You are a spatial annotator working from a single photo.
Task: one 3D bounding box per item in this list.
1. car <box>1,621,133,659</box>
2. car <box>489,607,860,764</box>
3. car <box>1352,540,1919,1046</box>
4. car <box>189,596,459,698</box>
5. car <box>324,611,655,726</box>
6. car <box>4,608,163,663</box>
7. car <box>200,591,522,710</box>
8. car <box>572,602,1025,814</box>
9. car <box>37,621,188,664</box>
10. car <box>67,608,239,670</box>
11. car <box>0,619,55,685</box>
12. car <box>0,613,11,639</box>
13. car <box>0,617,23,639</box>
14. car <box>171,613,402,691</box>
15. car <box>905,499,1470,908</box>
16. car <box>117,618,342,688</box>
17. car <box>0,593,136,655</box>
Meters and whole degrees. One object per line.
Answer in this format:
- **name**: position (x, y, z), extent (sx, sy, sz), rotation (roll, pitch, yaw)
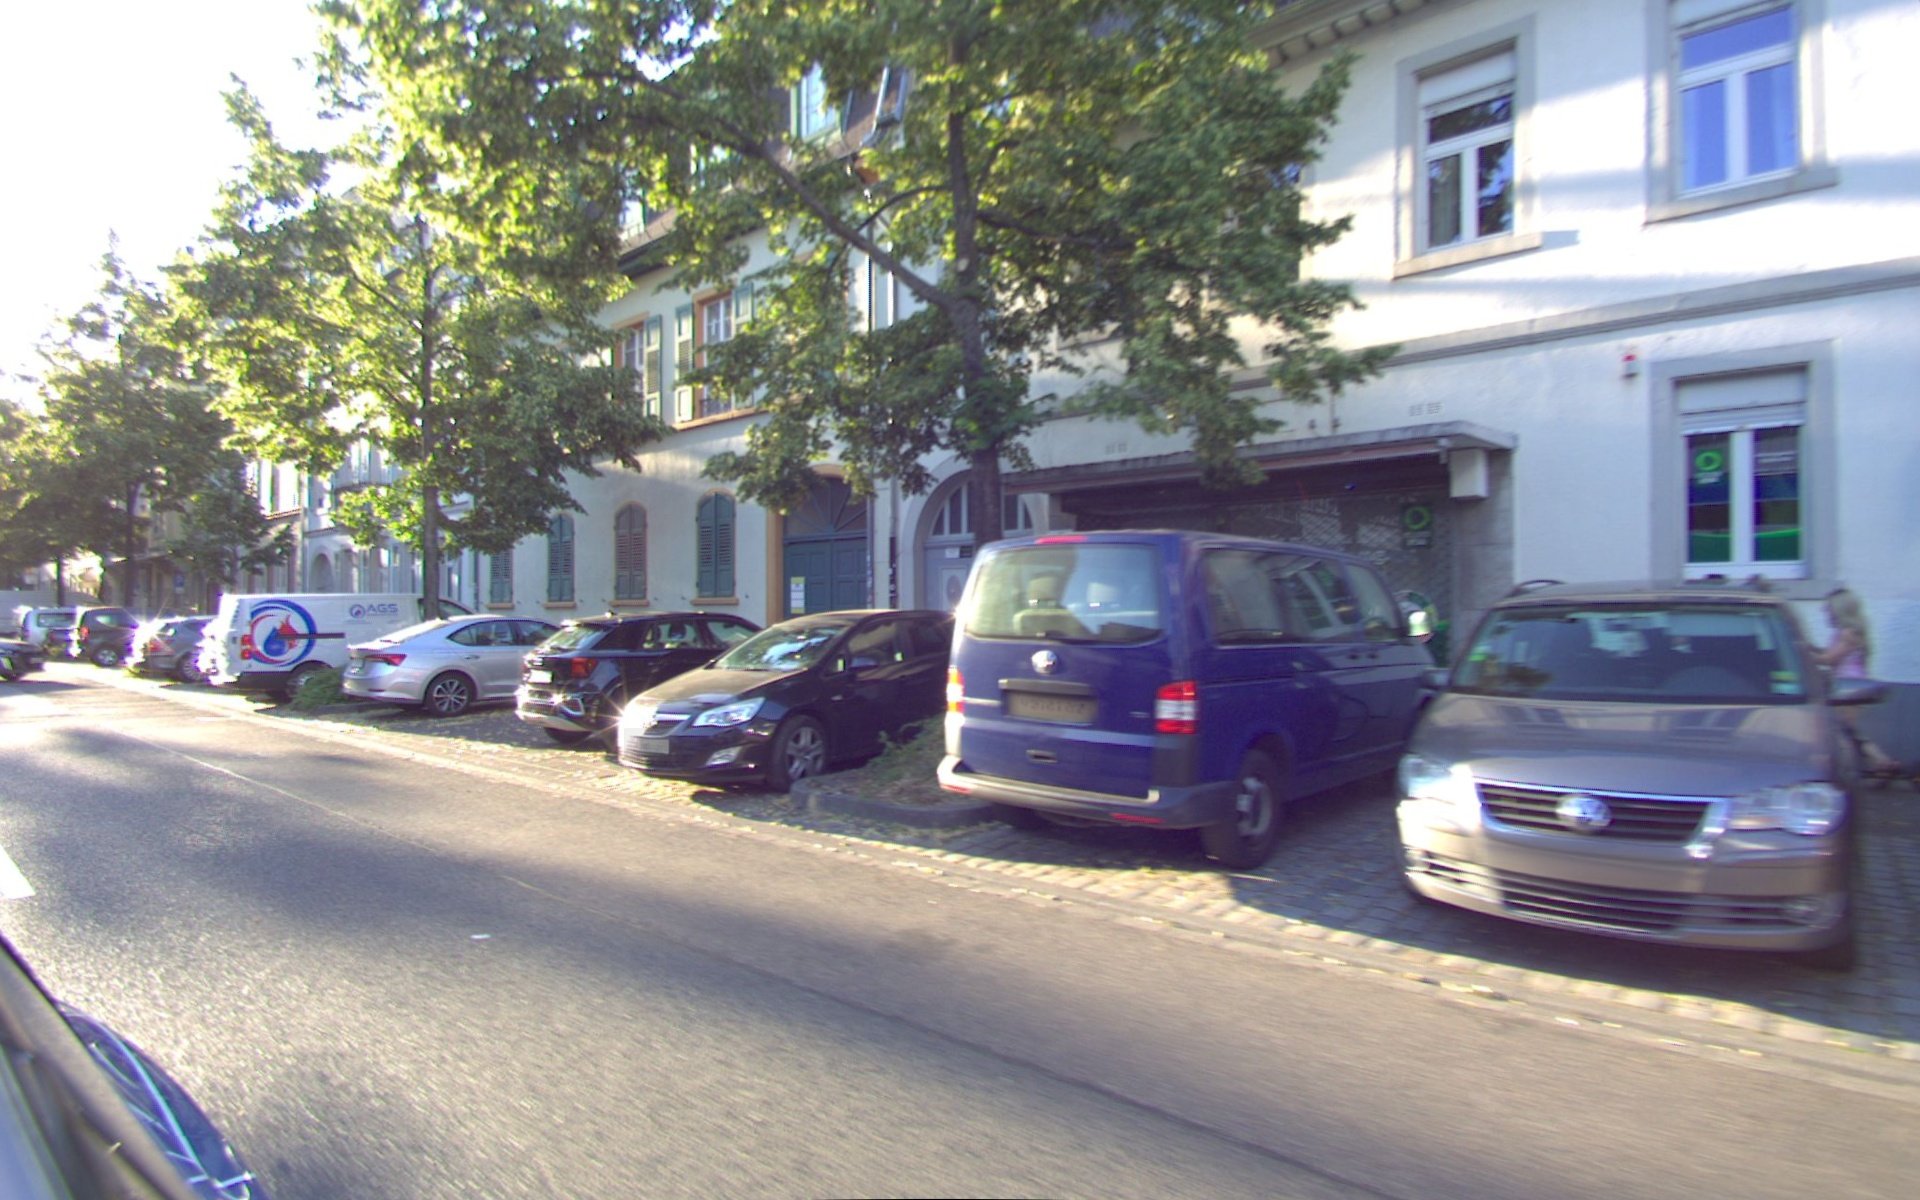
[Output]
- **car**: position (-37.471, 1.630, 42.516), extent (1.748, 1.414, 3.947), rotation (0, 0, 40)
- **car**: position (-3.301, 0.879, 12.189), extent (1.905, 1.512, 3.879), rotation (-1, -1, 44)
- **car**: position (3.816, 0.619, 5.429), extent (1.860, 1.649, 4.086), rotation (-1, 0, 42)
- **car**: position (-12.999, 0.896, 20.888), extent (1.893, 1.884, 4.381), rotation (-1, -1, 42)
- **car**: position (-7.266, 0.960, 15.995), extent (1.734, 1.496, 4.429), rotation (-1, -1, 43)
- **car**: position (-33.623, 1.317, 38.904), extent (1.919, 1.968, 4.450), rotation (-1, -1, 43)
- **car**: position (-10.999, 0.851, 18.907), extent (1.973, 1.922, 4.819), rotation (-1, -1, 41)
- **car**: position (-1.298, 0.822, 9.788), extent (1.838, 1.512, 4.287), rotation (-1, 0, 36)
- **car**: position (-31.209, 1.536, 37.340), extent (1.593, 1.450, 4.107), rotation (-1, -1, 42)
- **car**: position (-25.665, 1.192, 32.274), extent (1.807, 1.820, 4.093), rotation (-1, -1, 43)
- **car**: position (-23.679, 1.196, 23.228), extent (4.003, 1.472, 1.690), rotation (0, -1, -15)
- **car**: position (-70.908, 1.927, 72.130), extent (2.052, 1.825, 4.657), rotation (-1, 0, 42)
- **car**: position (-65.037, 1.918, 66.938), extent (1.821, 1.433, 4.337), rotation (-1, 0, 41)
- **car**: position (-14.975, 1.096, 22.639), extent (1.965, 1.567, 3.992), rotation (-1, -1, 44)
- **car**: position (1.902, 0.515, 7.293), extent (2.068, 1.991, 4.436), rotation (-1, -1, 42)
- **car**: position (-17.149, 1.181, 23.893), extent (1.962, 1.495, 3.995), rotation (-1, -1, 41)
- **car**: position (-41.395, 1.054, 46.158), extent (2.170, 2.641, 5.599), rotation (-1, 0, 41)
